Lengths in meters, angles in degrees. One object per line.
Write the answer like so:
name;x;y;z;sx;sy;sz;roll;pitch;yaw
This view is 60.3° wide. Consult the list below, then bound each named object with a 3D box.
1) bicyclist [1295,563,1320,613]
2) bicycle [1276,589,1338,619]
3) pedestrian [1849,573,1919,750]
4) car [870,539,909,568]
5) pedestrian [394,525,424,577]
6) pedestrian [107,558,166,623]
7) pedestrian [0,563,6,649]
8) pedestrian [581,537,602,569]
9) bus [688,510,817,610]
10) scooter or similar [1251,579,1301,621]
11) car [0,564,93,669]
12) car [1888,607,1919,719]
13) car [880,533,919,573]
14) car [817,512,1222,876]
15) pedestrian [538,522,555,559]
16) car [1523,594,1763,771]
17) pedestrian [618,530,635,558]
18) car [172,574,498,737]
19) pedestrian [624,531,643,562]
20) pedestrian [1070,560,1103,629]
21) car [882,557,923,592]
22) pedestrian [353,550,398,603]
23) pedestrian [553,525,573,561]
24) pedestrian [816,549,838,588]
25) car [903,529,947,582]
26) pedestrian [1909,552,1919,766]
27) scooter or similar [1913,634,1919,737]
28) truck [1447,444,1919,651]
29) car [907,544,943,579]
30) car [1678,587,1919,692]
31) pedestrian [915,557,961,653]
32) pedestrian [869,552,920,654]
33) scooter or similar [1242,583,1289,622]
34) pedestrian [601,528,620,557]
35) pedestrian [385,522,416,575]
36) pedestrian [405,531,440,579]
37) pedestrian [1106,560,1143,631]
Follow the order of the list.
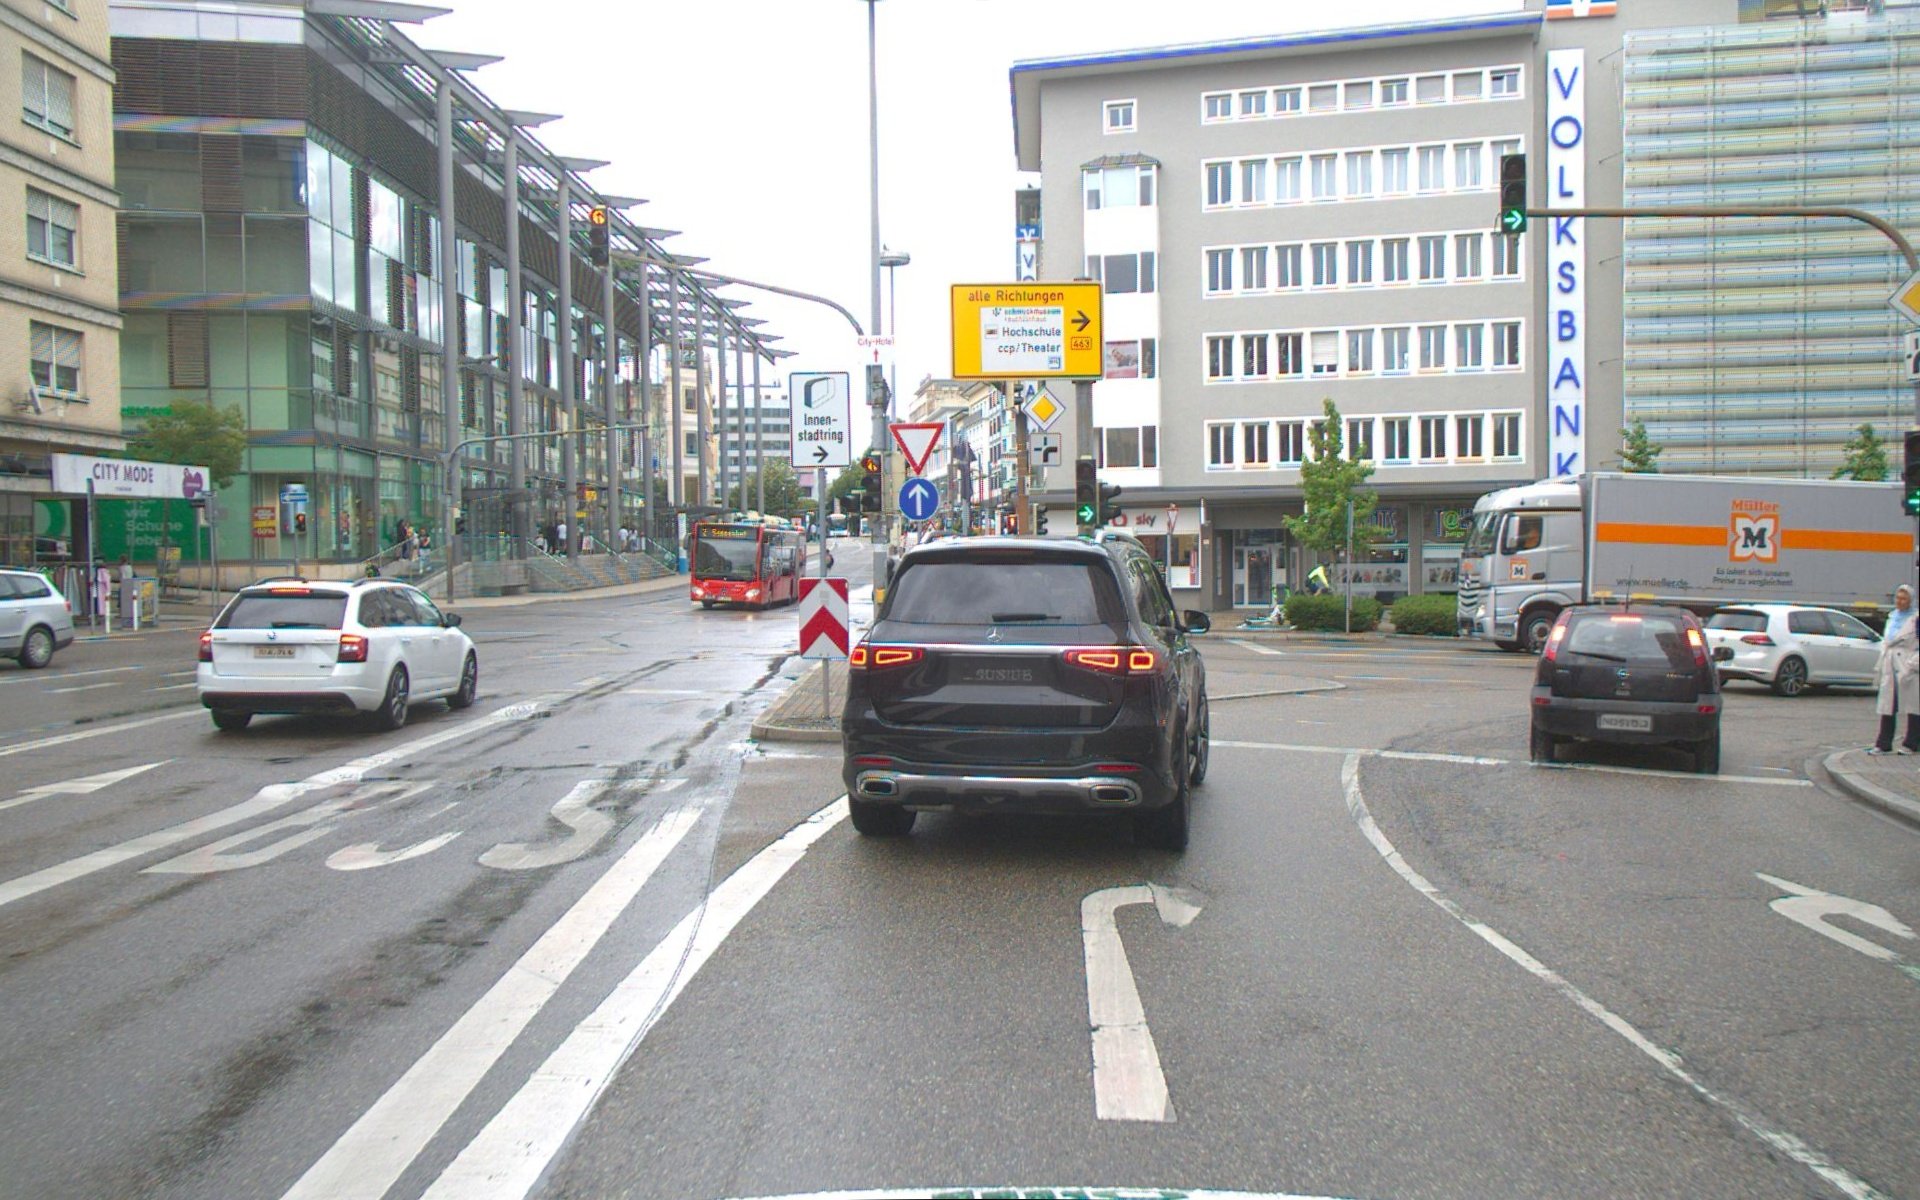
bicyclist;12.110;-0.409;57.674;0.826;1.734;0.623;0;1;13
bicycle;12.104;0.139;57.678;2.092;1.010;0.695;0;1;13
pedestrian;9.223;0.592;16.113;0.528;1.666;0.838;-3;-3;-1
car;-4.643;-3.036;109.269;2.373;1.811;5.154;1;1;-1
pedestrian;-21.550;-1.913;64.713;0.857;2.015;0.850;1;1;-1
pedestrian;-20.756;-0.250;41.709;0.853;1.614;1.155;0;1;2
pedestrian;-18.932;0.105;31.808;0.839;1.656;0.762;0;1;-44
pedestrian;-20.426;-2.621;91.596;1.019;1.742;1.006;1;1;-6
bus;-7.907;-1.524;65.881;2.860;3.378;18.478;1;1;0
scooter or similar;10.157;-0.005;53.152;1.466;1.278;0.931;1;2;19
car;-14.540;0.239;23.273;1.747;1.471;4.758;1;1;7
car;16.046;0.978;24.401;3.925;1.601;1.947;1;3;-18
car;-5.493;-4.236;151.084;2.392;3.525;6.159;2;1;9
car;0.663;0.400;11.058;2.043;1.848;4.797;1;2;10
pedestrian;-20.110;-2.897;80.480;0.667;1.742;0.849;1;1;-6
car;6.467;0.688;16.029;1.680;1.445;3.773;2;1;16
pedestrian;-20.616;-3.462;102.183;0.920;1.742;0.990;1;1;-6
car;-6.338;0.471;17.393;1.756;1.440;4.631;0;1;-1
pedestrian;-19.125;-3.122;96.861;1.019;1.742;1.006;1;1;-6
pedestrian;3.208;-0.138;41.916;0.764;1.718;0.639;2;1;8
car;-2.661;-1.191;77.446;1.701;1.554;4.001;1;1;0
pedestrian;-19.642;-0.791;55.601;1.018;1.742;1.007;1;1;27
pedestrian;-19.389;-2.793;80.784;0.811;1.742;0.801;1;1;-6
pedestrian;-6.688;-1.584;83.417;0.934;1.919;0.811;2;1;6
car;-2.151;-2.654;99.325;2.395;3.009;6.150;1;1;-3
pedestrian;8.154;0.464;13.480;0.615;1.722;0.779;-2;-2;34
scooter or similar;10.898;0.925;17.818;0.949;1.128;0.655;-2;0;18
truck;16.766;-1.185;37.593;10.511;4.409;2.857;1;1;3
car;-1.984;-2.150;92.774;1.824;1.857;4.101;1;1;-3
car;14.408;0.619;28.380;3.949;1.601;1.935;0;3;-32
pedestrian;-0.400;0.097;30.470;0.740;1.721;0.694;1;-1;4
pedestrian;-1.129;0.053;28.784;0.767;1.741;0.707;1;0;4
scooter or similar;9.516;0.084;51.485;1.351;1.207;0.544;0;1;19
pedestrian;-21.570;-3.547;102.081;1.019;1.742;1.006;1;1;-6
pedestrian;-21.564;-1.980;63.749;0.863;2.015;0.974;1;1;-1
pedestrian;-19.728;-1.635;60.752;1.019;1.742;1.006;1;1;-6
pedestrian;4.277;-0.124;43.074;0.814;1.809;0.617;1;1;-7
